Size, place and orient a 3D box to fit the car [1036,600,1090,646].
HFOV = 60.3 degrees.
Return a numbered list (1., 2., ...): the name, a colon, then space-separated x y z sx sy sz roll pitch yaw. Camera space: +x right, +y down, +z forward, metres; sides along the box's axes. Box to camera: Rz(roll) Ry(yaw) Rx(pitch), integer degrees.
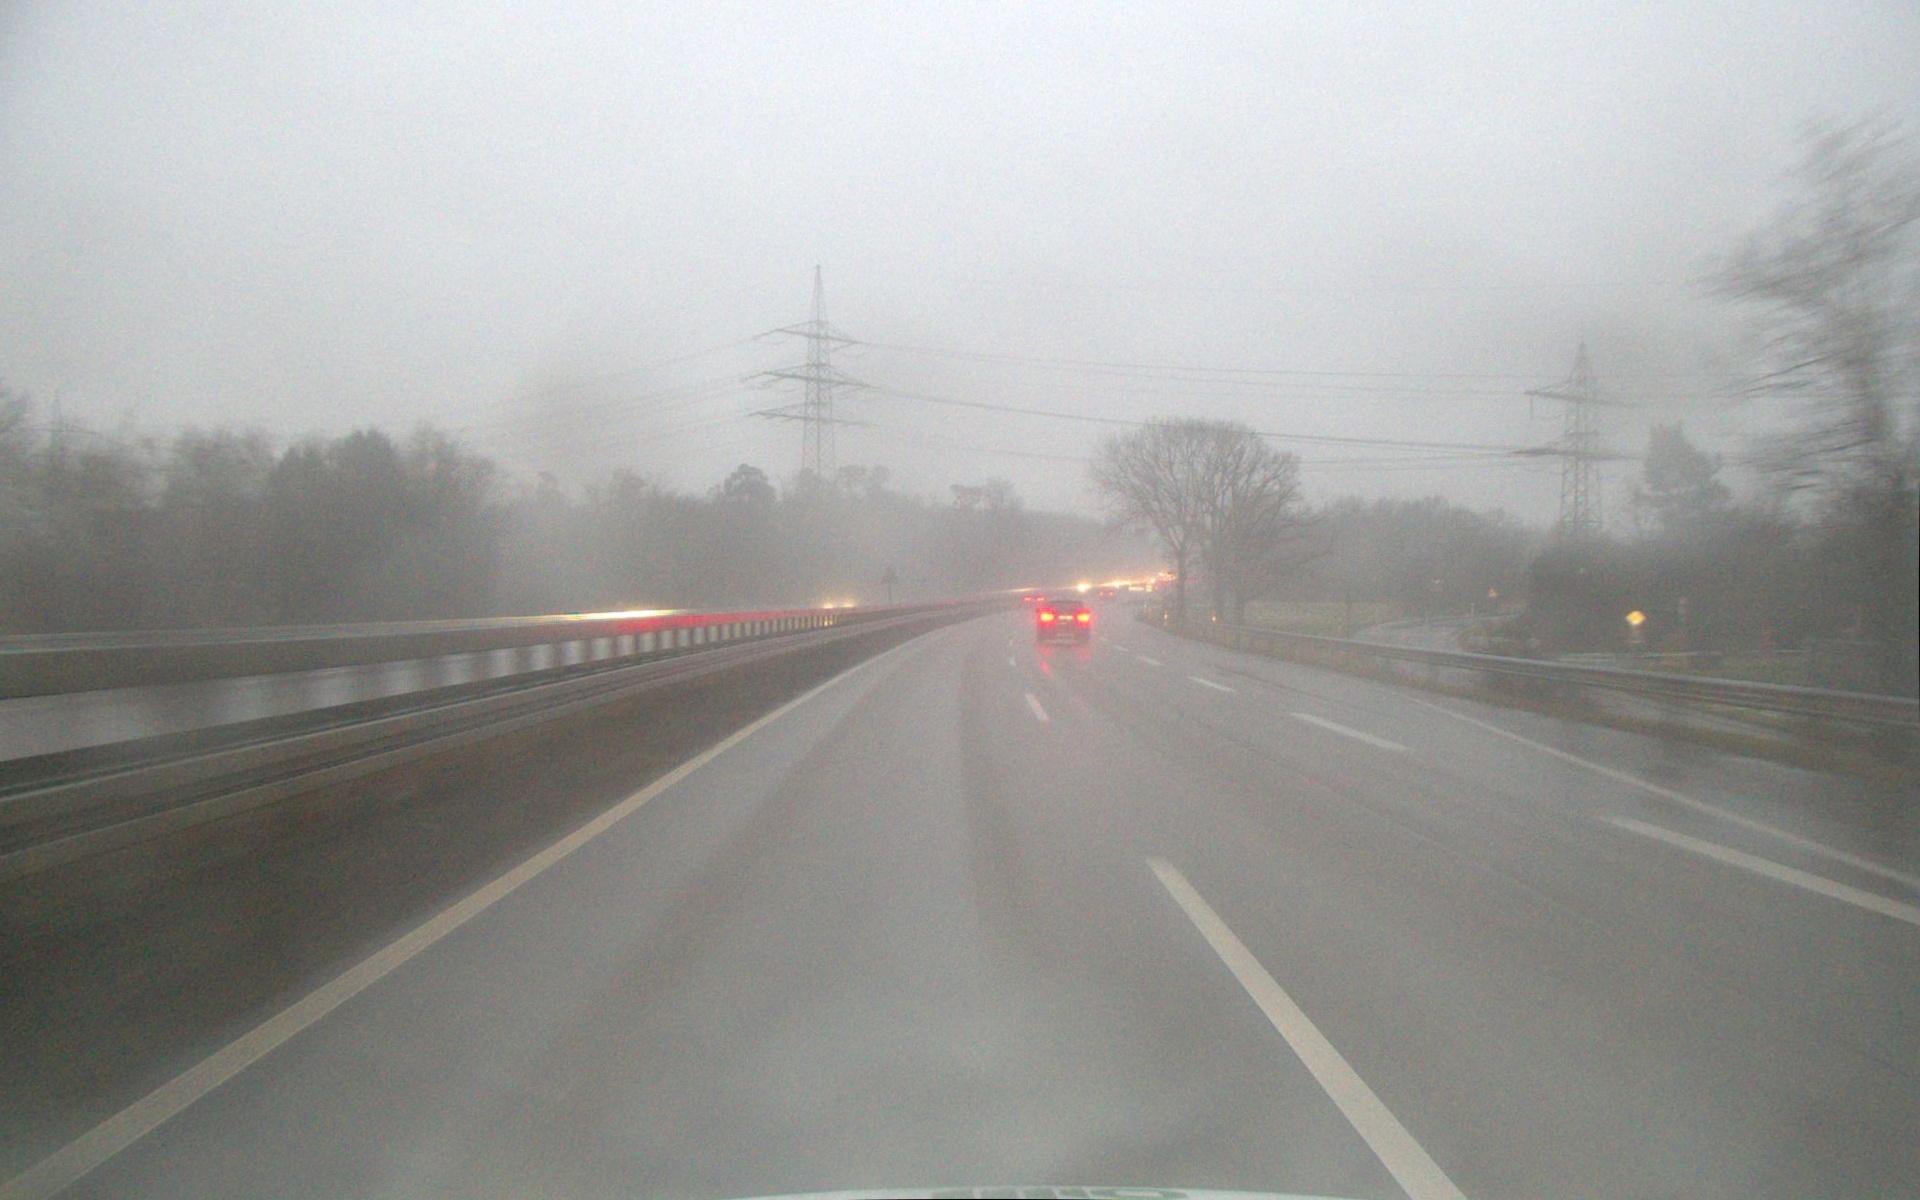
1. car: 3.803 0.815 60.565 1.642 1.535 3.812 0 1 8
